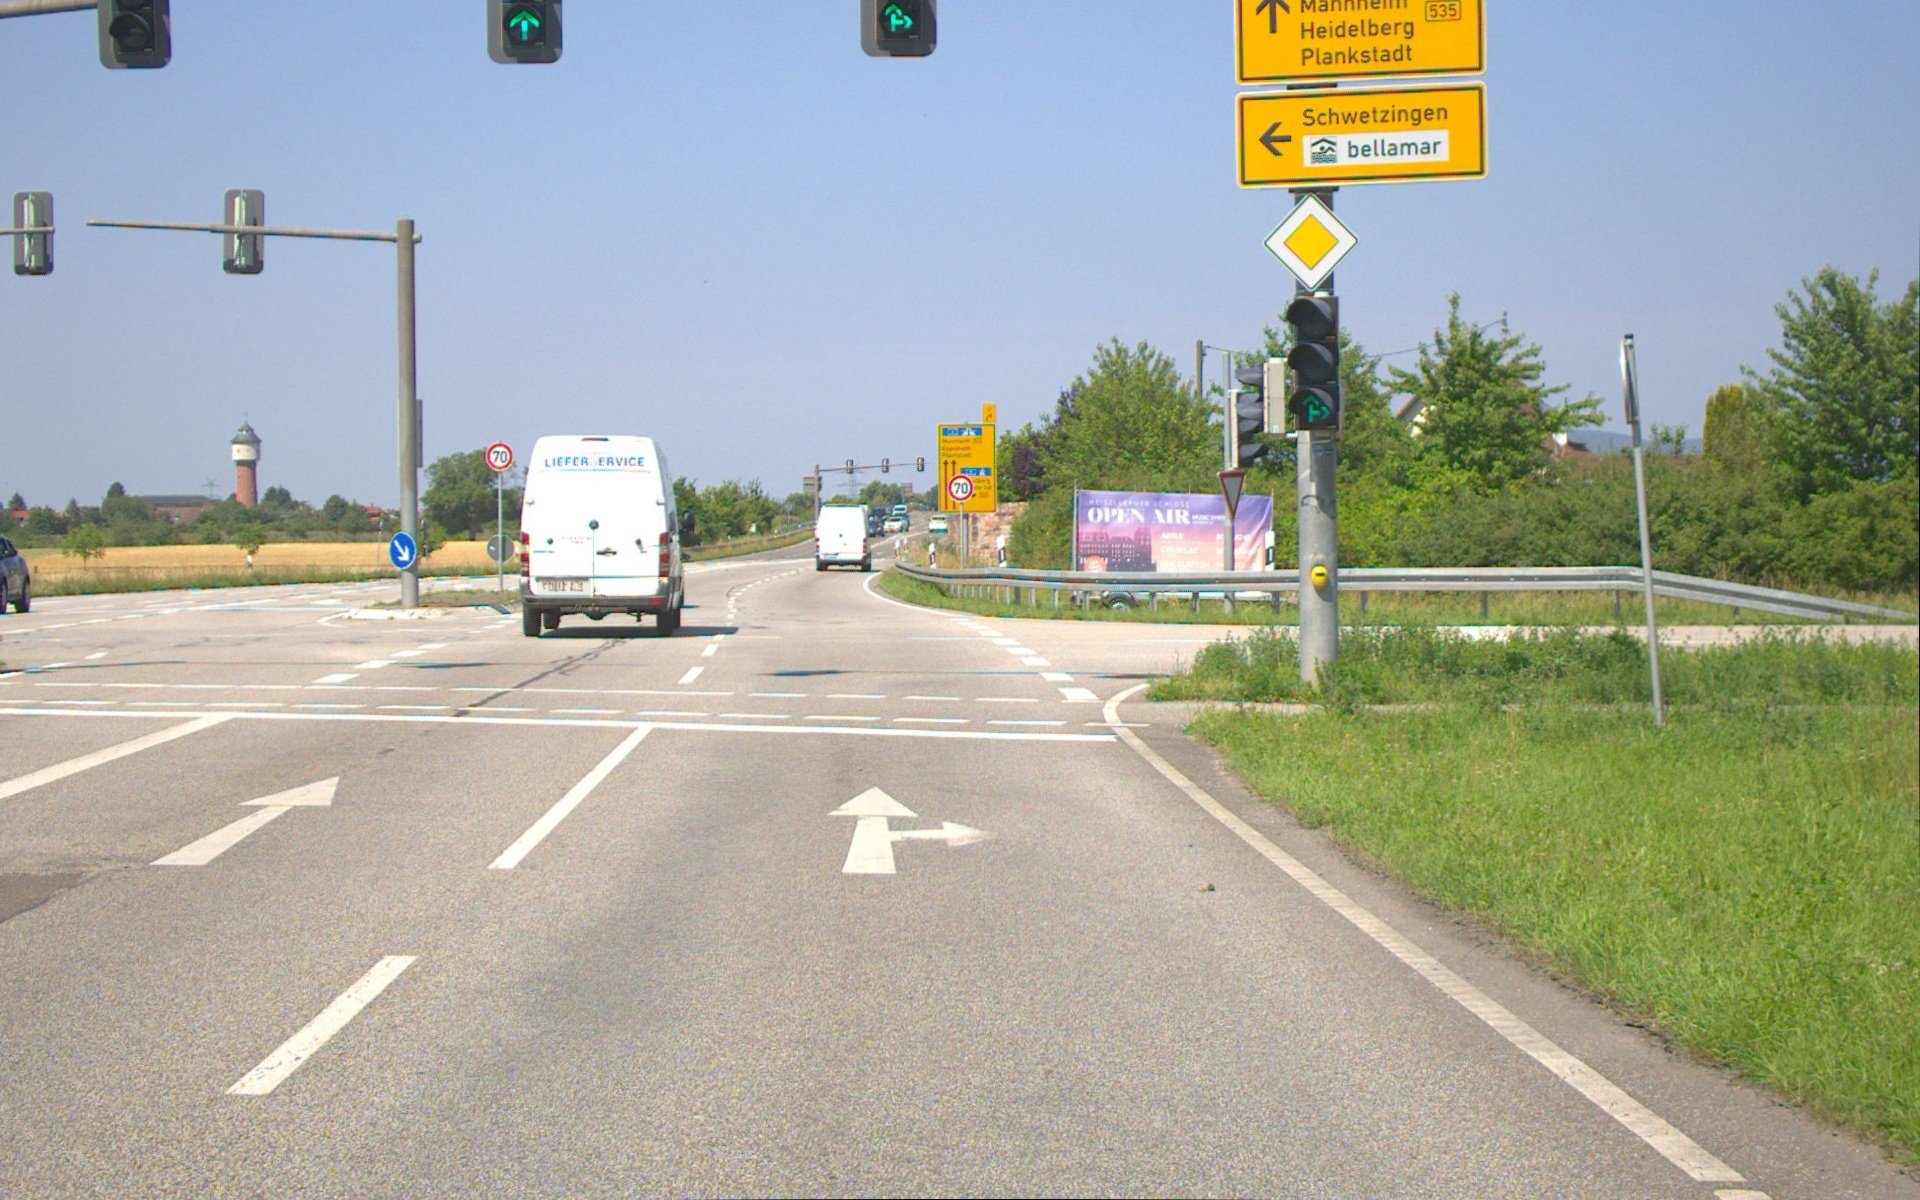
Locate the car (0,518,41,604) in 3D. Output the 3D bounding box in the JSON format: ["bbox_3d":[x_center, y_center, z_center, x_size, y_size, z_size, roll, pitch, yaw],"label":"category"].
[{"bbox_3d":[-18.821,-0.725,65.489,1.830,1.594,4.306,-1,1,-6],"label":"car"}]

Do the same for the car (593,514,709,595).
[{"bbox_3d":[-6.097,-0.927,68.191,1.799,1.503,4.196,0,2,2],"label":"car"}]

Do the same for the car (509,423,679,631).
[{"bbox_3d":[-4.905,-0.998,46.776,2.039,2.611,5.742,-1,1,-4],"label":"car"}]

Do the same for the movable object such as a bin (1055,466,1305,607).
[{"bbox_3d":[3.769,-1.091,59.234,4.093,2.323,1.278,1,1,-6],"label":"movable object such as a bin"}]

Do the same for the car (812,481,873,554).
[{"bbox_3d":[-4.540,-3.164,133.237,1.993,2.686,4.969,1,0,2],"label":"car"}]
